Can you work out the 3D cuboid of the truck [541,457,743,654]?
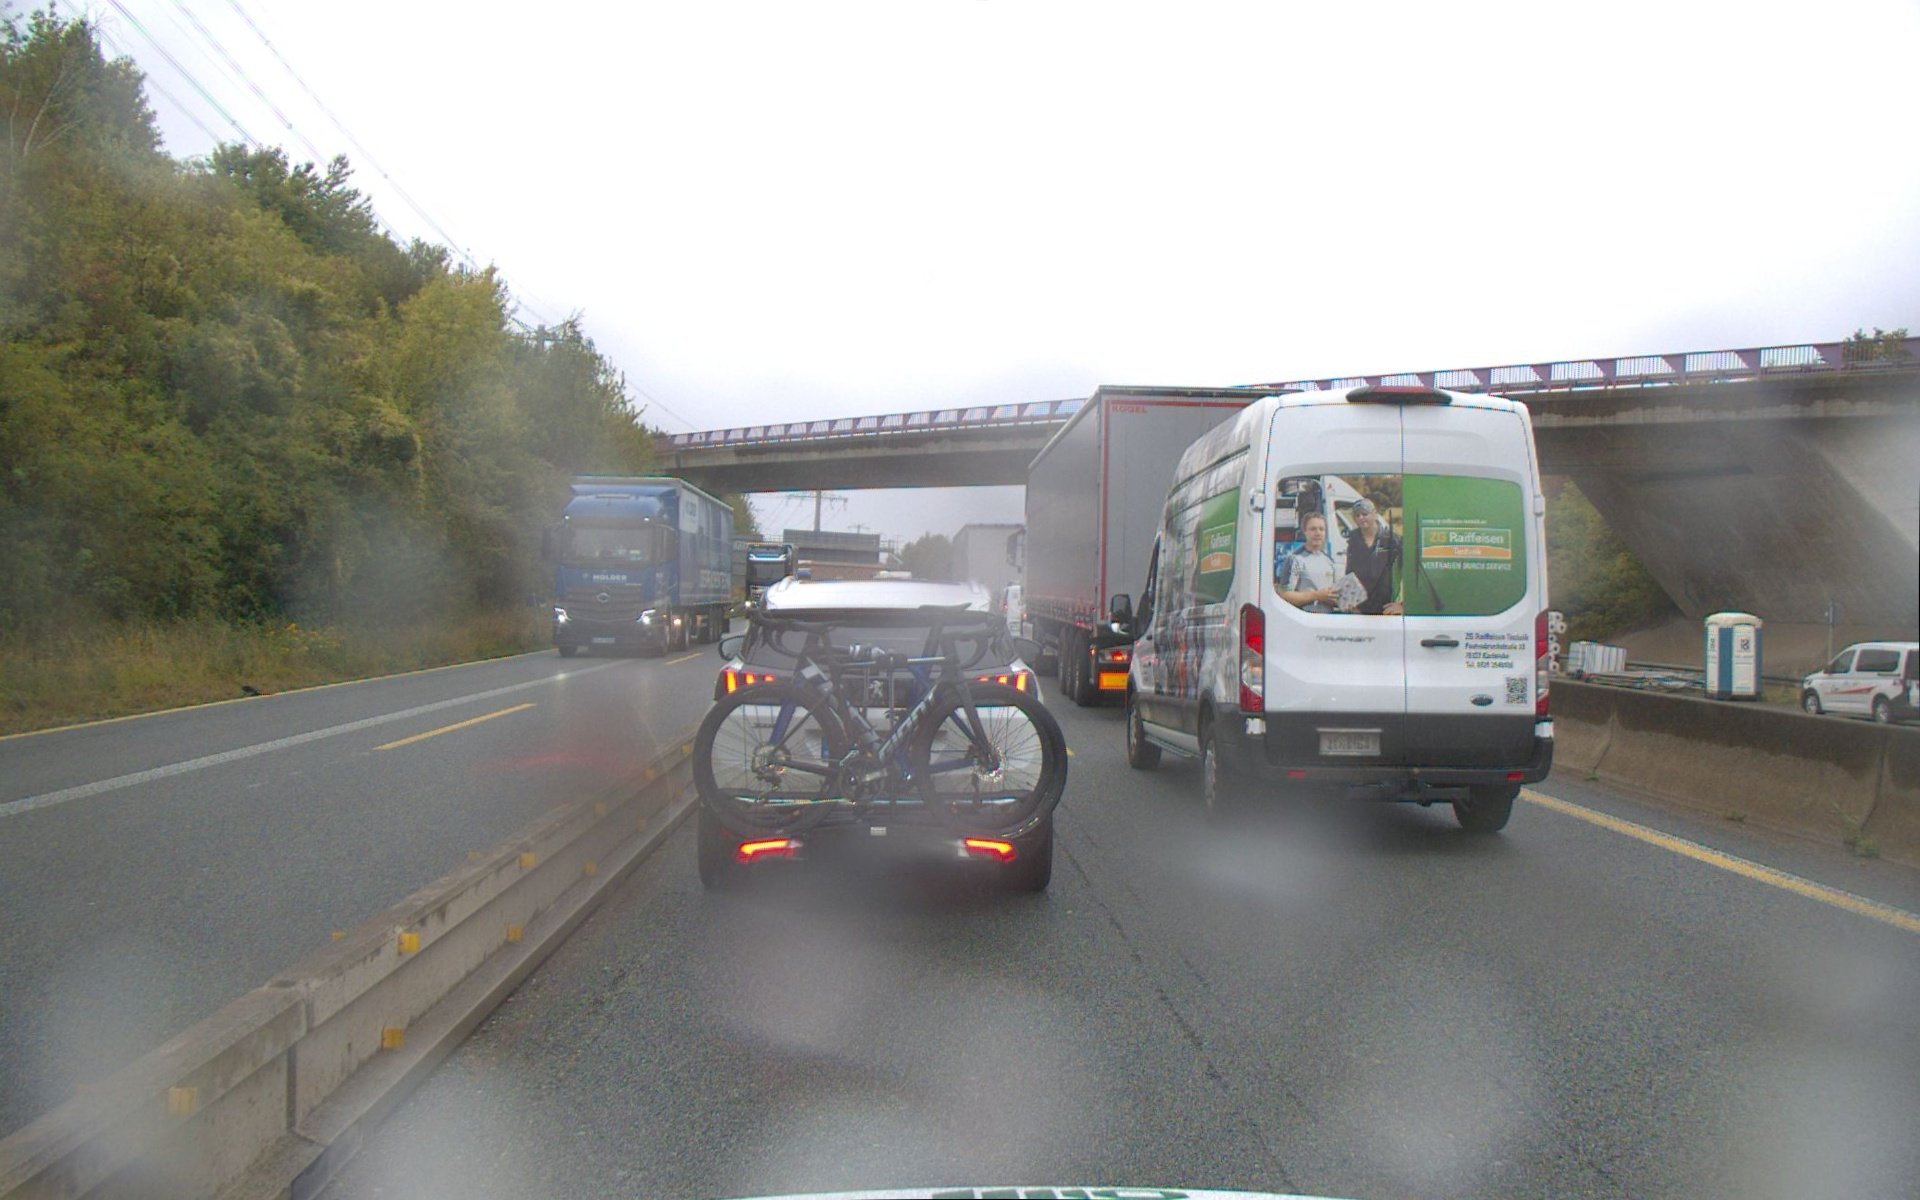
[{"bbox_3d":[-7.951,-0.922,44.033,2.710,4.195,16.918,1,0,-2],"label":"truck"}]

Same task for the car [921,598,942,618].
[{"bbox_3d":[-2.242,0.608,129.223,1.605,1.524,3.665,1,0,-1],"label":"car"}]

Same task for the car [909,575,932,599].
[{"bbox_3d":[-3.522,-1.100,146.121,1.953,2.049,3.998,1,0,-2],"label":"car"}]

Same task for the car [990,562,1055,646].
[{"bbox_3d":[1.717,0.123,46.319,1.636,2.218,4.534,1,0,0],"label":"car"}]

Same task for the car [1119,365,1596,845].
[{"bbox_3d":[2.580,0.038,12.556,2.100,2.723,6.116,1,0,0],"label":"car"}]

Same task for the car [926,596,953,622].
[{"bbox_3d":[-1.275,0.564,102.410,1.605,1.524,3.665,1,0,-1],"label":"car"}]

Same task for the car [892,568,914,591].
[{"bbox_3d":[-6.090,-2.151,177.746,2.194,2.347,4.571,1,0,-1],"label":"car"}]

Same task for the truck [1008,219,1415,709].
[{"bbox_3d":[3.298,-1.584,29.865,3.899,5.772,20.371,1,0,-1],"label":"truck"}]

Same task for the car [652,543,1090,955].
[{"bbox_3d":[-0.357,0.620,9.111,1.773,1.666,4.635,1,0,0],"label":"car"}]

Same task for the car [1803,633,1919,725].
[{"bbox_3d":[20.611,1.699,36.648,1.809,1.840,4.157,1,0,1],"label":"car"}]

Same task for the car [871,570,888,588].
[{"bbox_3d":[-10.082,-2.688,207.938,1.953,2.164,4.526,1,0,-1],"label":"car"}]

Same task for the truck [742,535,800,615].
[{"bbox_3d":[-10.570,-1.323,93.407,2.414,4.195,10.083,1,0,-2],"label":"truck"}]

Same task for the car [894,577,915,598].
[{"bbox_3d":[-5.546,-1.242,164.687,1.953,2.049,3.999,1,0,-1],"label":"car"}]

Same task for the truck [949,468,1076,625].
[{"bbox_3d":[1.979,-1.953,71.532,4.646,5.772,20.375,1,0,0],"label":"truck"}]

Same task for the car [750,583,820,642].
[{"bbox_3d":[-5.148,0.360,49.124,1.748,1.638,4.102,1,0,-2],"label":"car"}]

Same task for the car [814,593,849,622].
[{"bbox_3d":[-7.092,0.400,91.368,1.900,1.520,3.996,1,0,-4],"label":"car"}]
